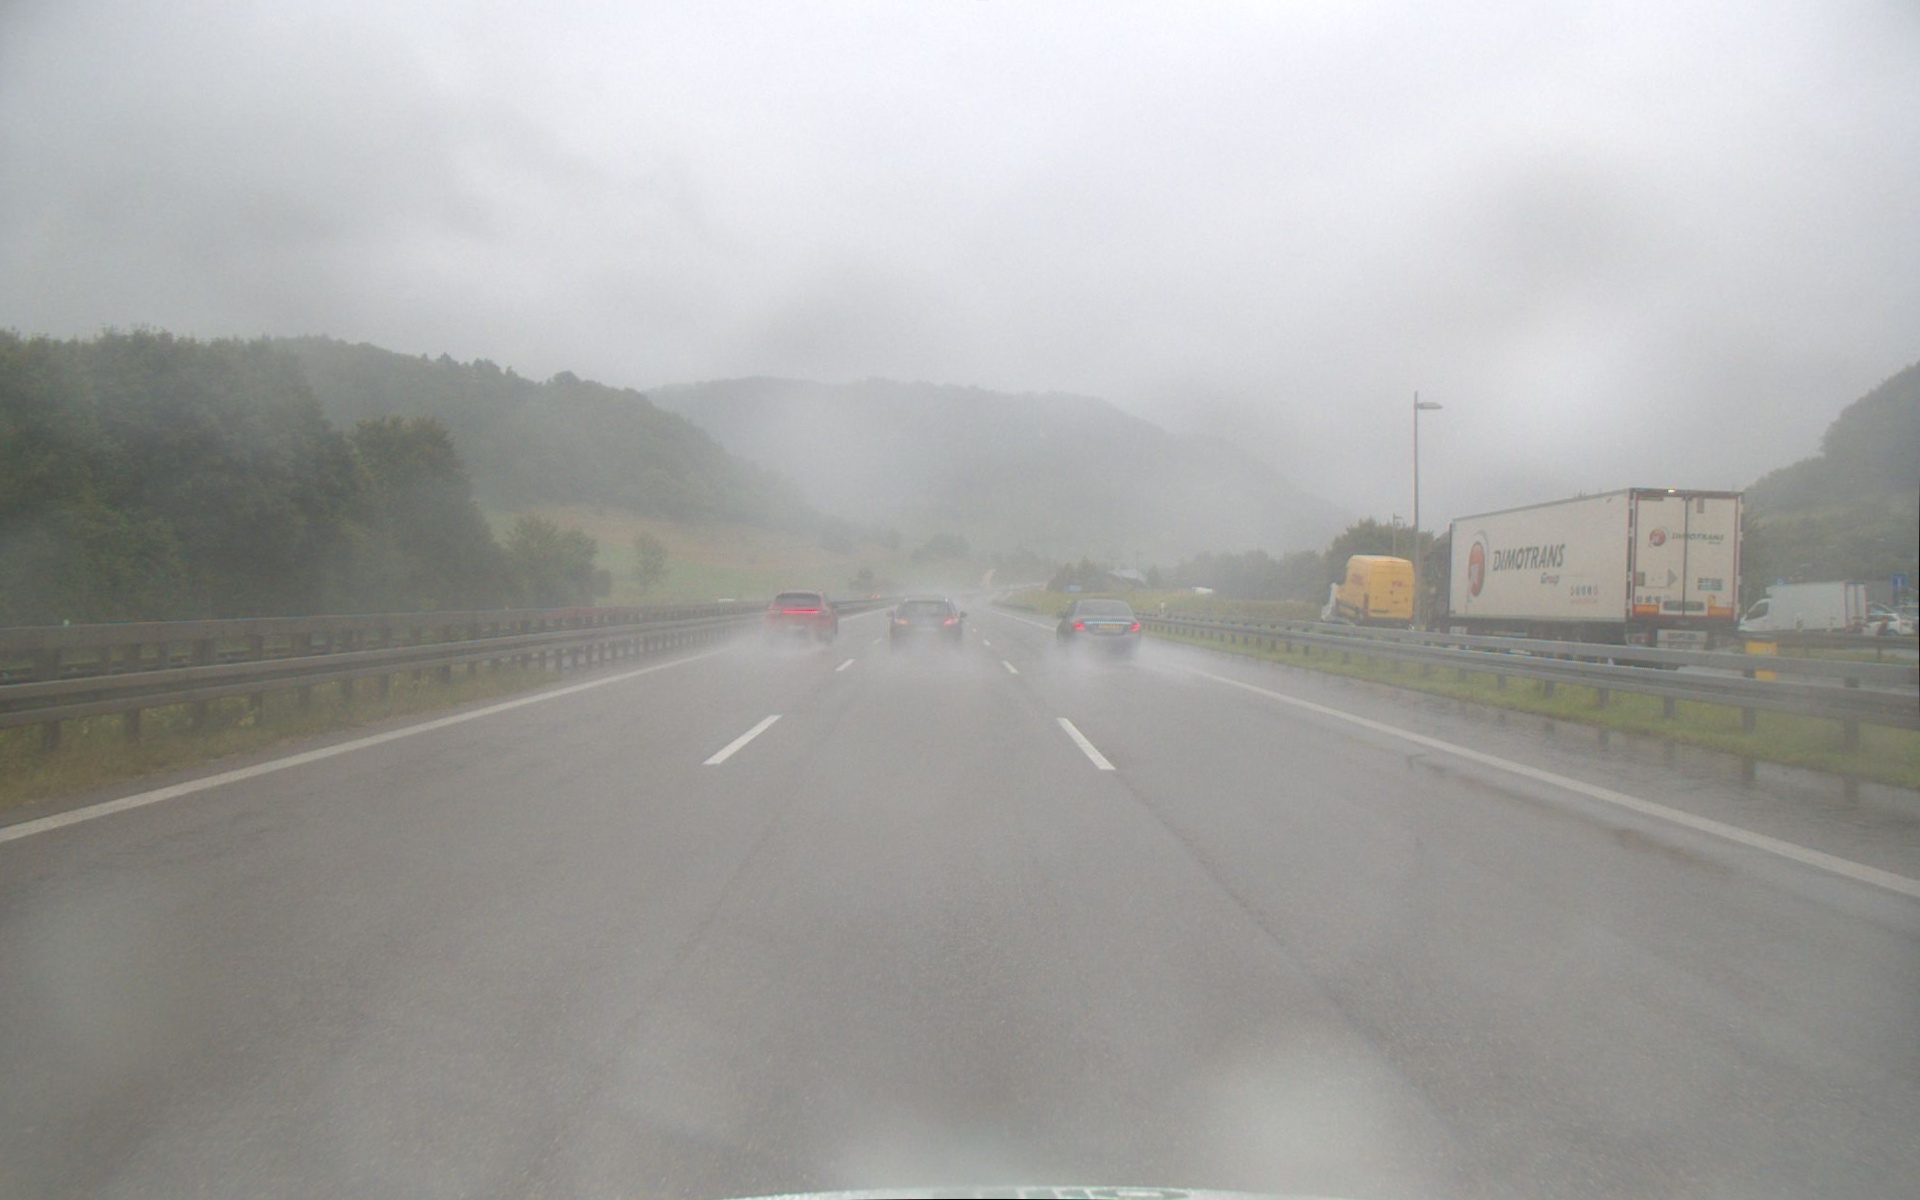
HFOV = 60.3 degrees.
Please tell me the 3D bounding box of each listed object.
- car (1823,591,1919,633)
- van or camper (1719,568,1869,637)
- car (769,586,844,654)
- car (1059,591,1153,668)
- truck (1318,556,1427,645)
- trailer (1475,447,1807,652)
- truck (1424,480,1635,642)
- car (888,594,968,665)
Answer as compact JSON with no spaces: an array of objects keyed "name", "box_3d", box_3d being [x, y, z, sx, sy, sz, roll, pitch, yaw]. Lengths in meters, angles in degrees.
[{"name":"car","box_3d":[45.646,0.588,82.879,3.928,2.049,1.988,0,0,41]},{"name":"van or camper","box_3d":[39.243,0.106,78.016,1.976,3.112,6.098,1,0,-34]},{"name":"car","box_3d":[-4.369,0.535,47.558,1.846,1.847,3.999,0,0,-1]},{"name":"car","box_3d":[3.519,0.675,40.618,1.931,1.791,4.000,0,0,0]},{"name":"truck","box_3d":[16.058,0.018,64.984,2.244,3.202,8.865,1,0,1]},{"name":"trailer","box_3d":[16.493,-1.074,41.496,3.444,4.336,11.920,1,0,0]},{"name":"truck","box_3d":[16.507,-1.052,48.678,3.455,4.293,7.816,1,0,0]},{"name":"car","box_3d":[-0.753,0.685,40.379,1.821,1.617,4.000,1,0,0]}]
